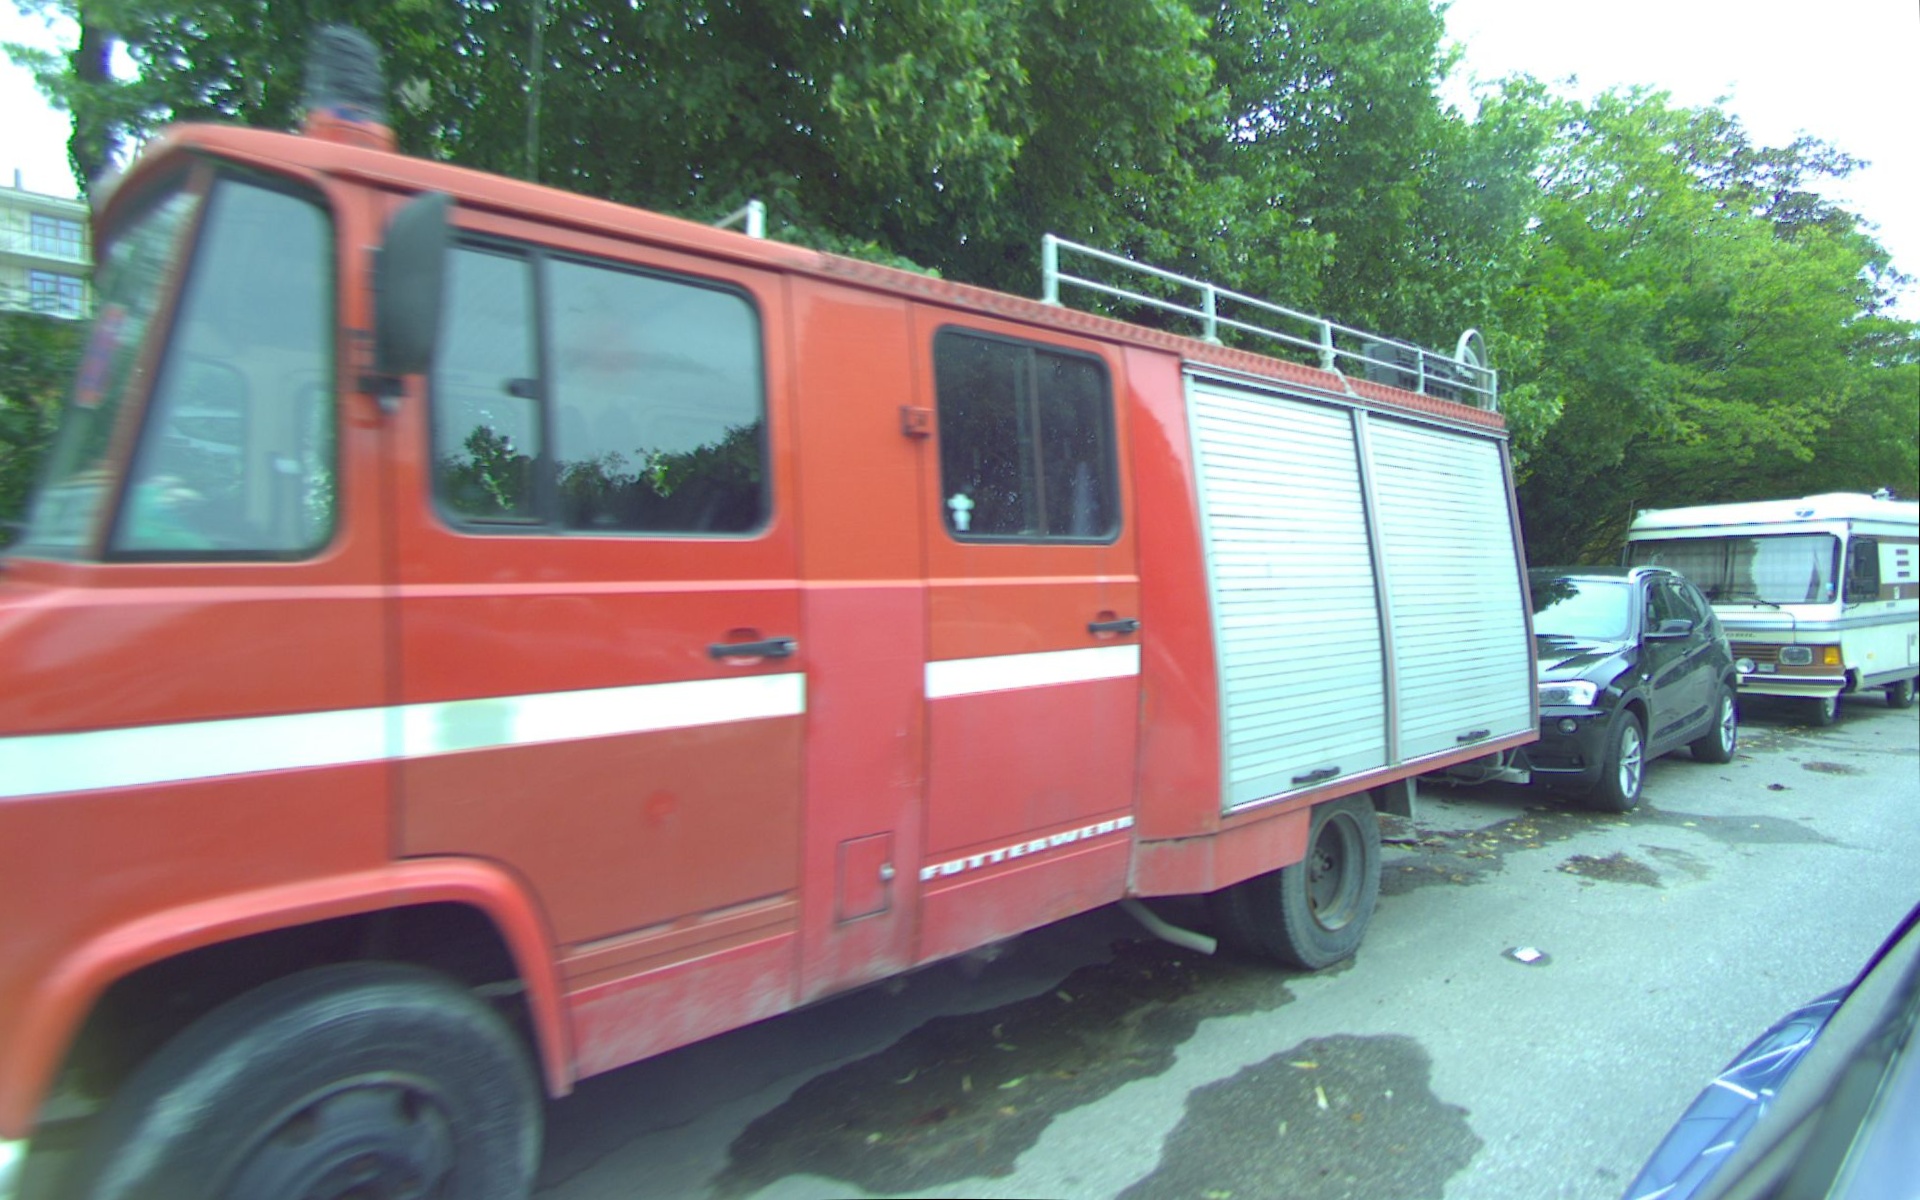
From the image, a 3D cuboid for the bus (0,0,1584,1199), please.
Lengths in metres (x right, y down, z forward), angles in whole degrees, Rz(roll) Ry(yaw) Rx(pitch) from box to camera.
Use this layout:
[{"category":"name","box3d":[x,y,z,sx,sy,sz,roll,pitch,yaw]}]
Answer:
[{"category":"bus","box3d":[0.052,-0.028,3.873,6.159,2.840,2.077,-1,1,-39]}]

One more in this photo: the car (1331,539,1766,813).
[{"category":"car","box3d":[4.952,0.445,8.236,4.320,1.660,1.781,0,0,-41]}]

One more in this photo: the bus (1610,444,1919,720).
[{"category":"bus","box3d":[10.579,-0.214,12.650,5.754,2.764,2.080,0,0,-35]}]
